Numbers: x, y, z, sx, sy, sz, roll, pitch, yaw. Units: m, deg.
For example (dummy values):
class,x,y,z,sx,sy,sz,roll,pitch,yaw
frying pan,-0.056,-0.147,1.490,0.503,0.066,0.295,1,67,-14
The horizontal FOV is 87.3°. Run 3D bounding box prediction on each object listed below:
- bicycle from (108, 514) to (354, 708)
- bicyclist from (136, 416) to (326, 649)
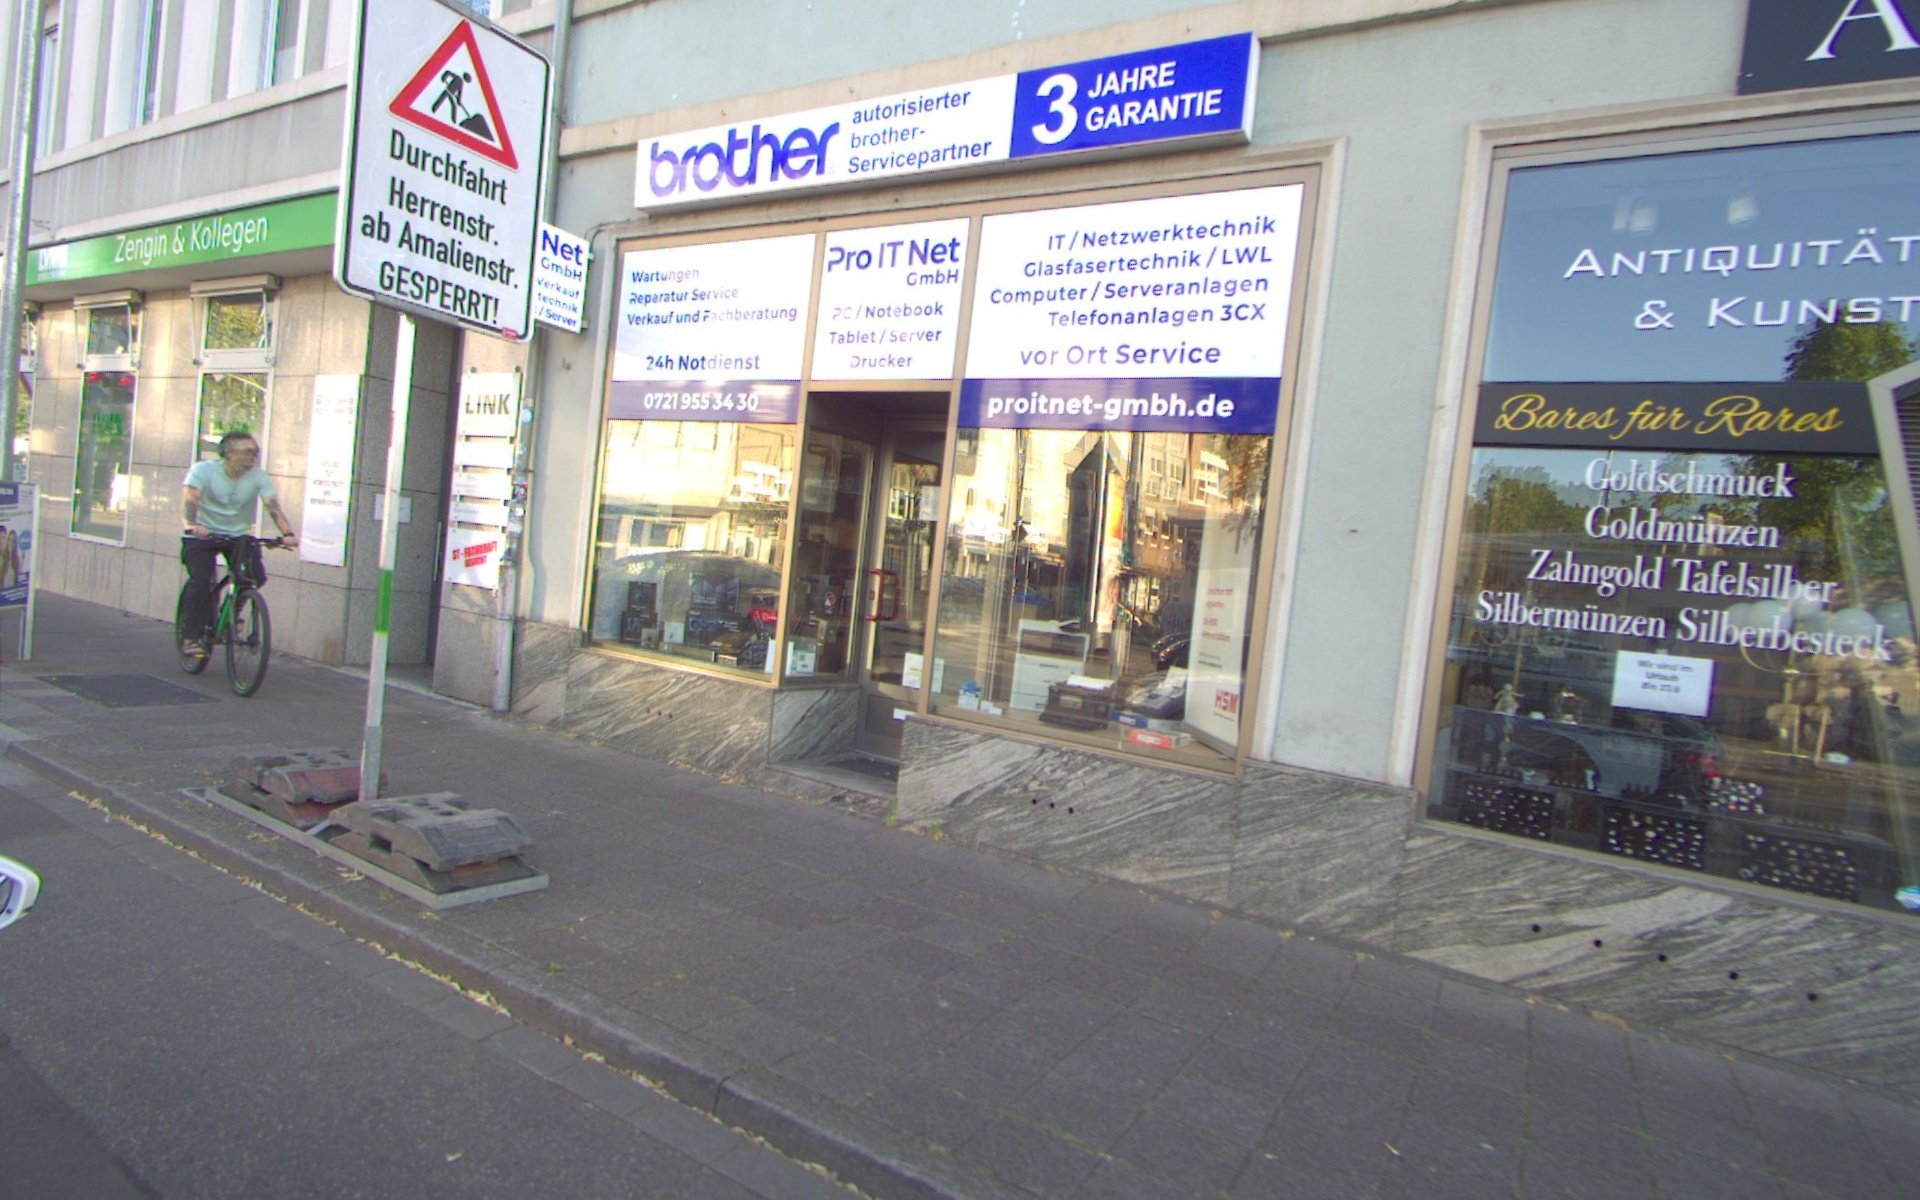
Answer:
class,x,y,z,sx,sy,sz,roll,pitch,yaw
bicycle,-5.214,0.047,7.160,1.864,1.121,0.691,7,2,31
bicyclist,-5.194,-0.469,7.171,0.885,1.527,0.722,7,2,32
